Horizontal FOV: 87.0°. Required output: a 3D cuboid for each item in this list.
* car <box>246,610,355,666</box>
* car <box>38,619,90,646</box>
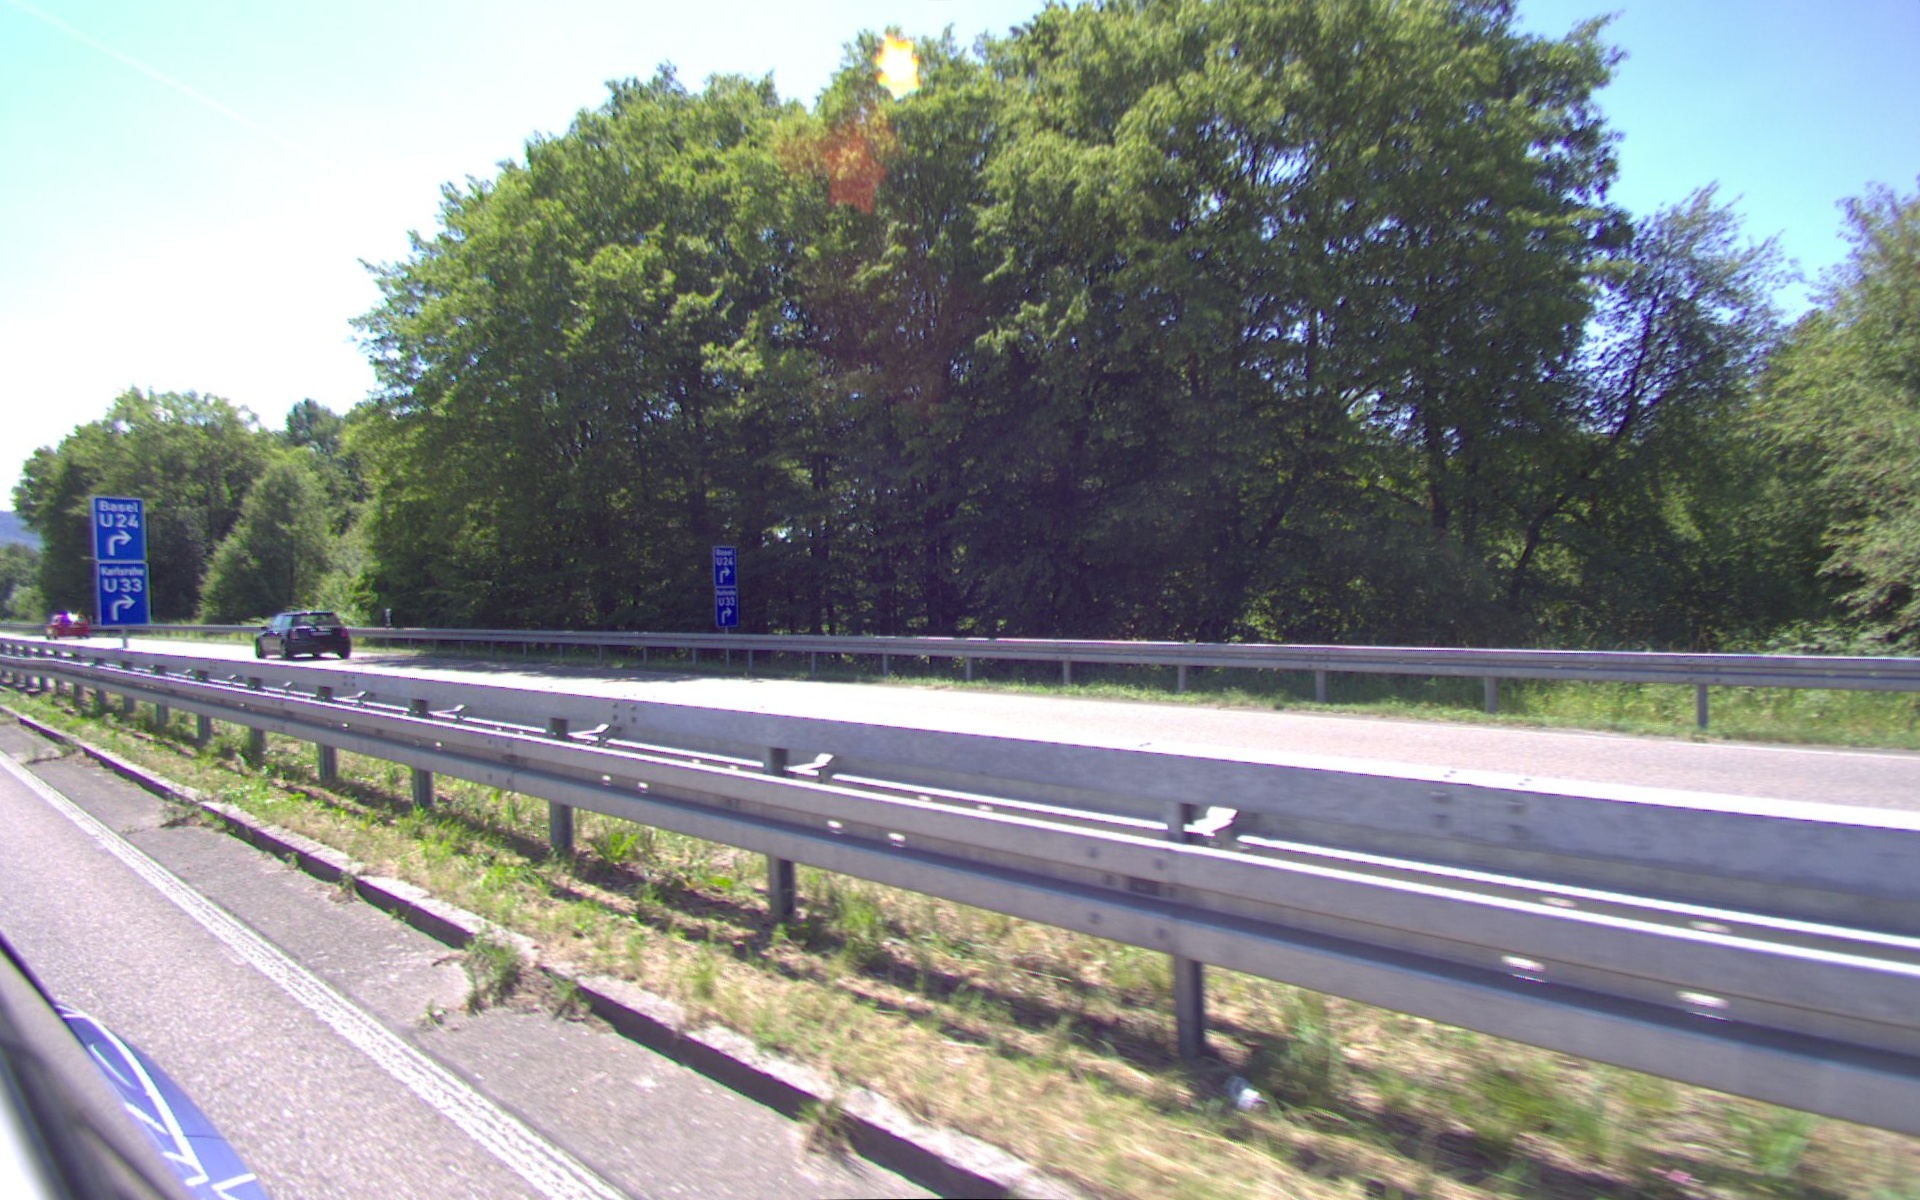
[{"bbox_3d":[-19.491,1.096,29.864,3.772,1.479,1.779,-1,1,42],"label":"car"},{"bbox_3d":[-51.809,1.839,58.498,4.575,1.429,1.757,-1,0,43],"label":"car"}]
